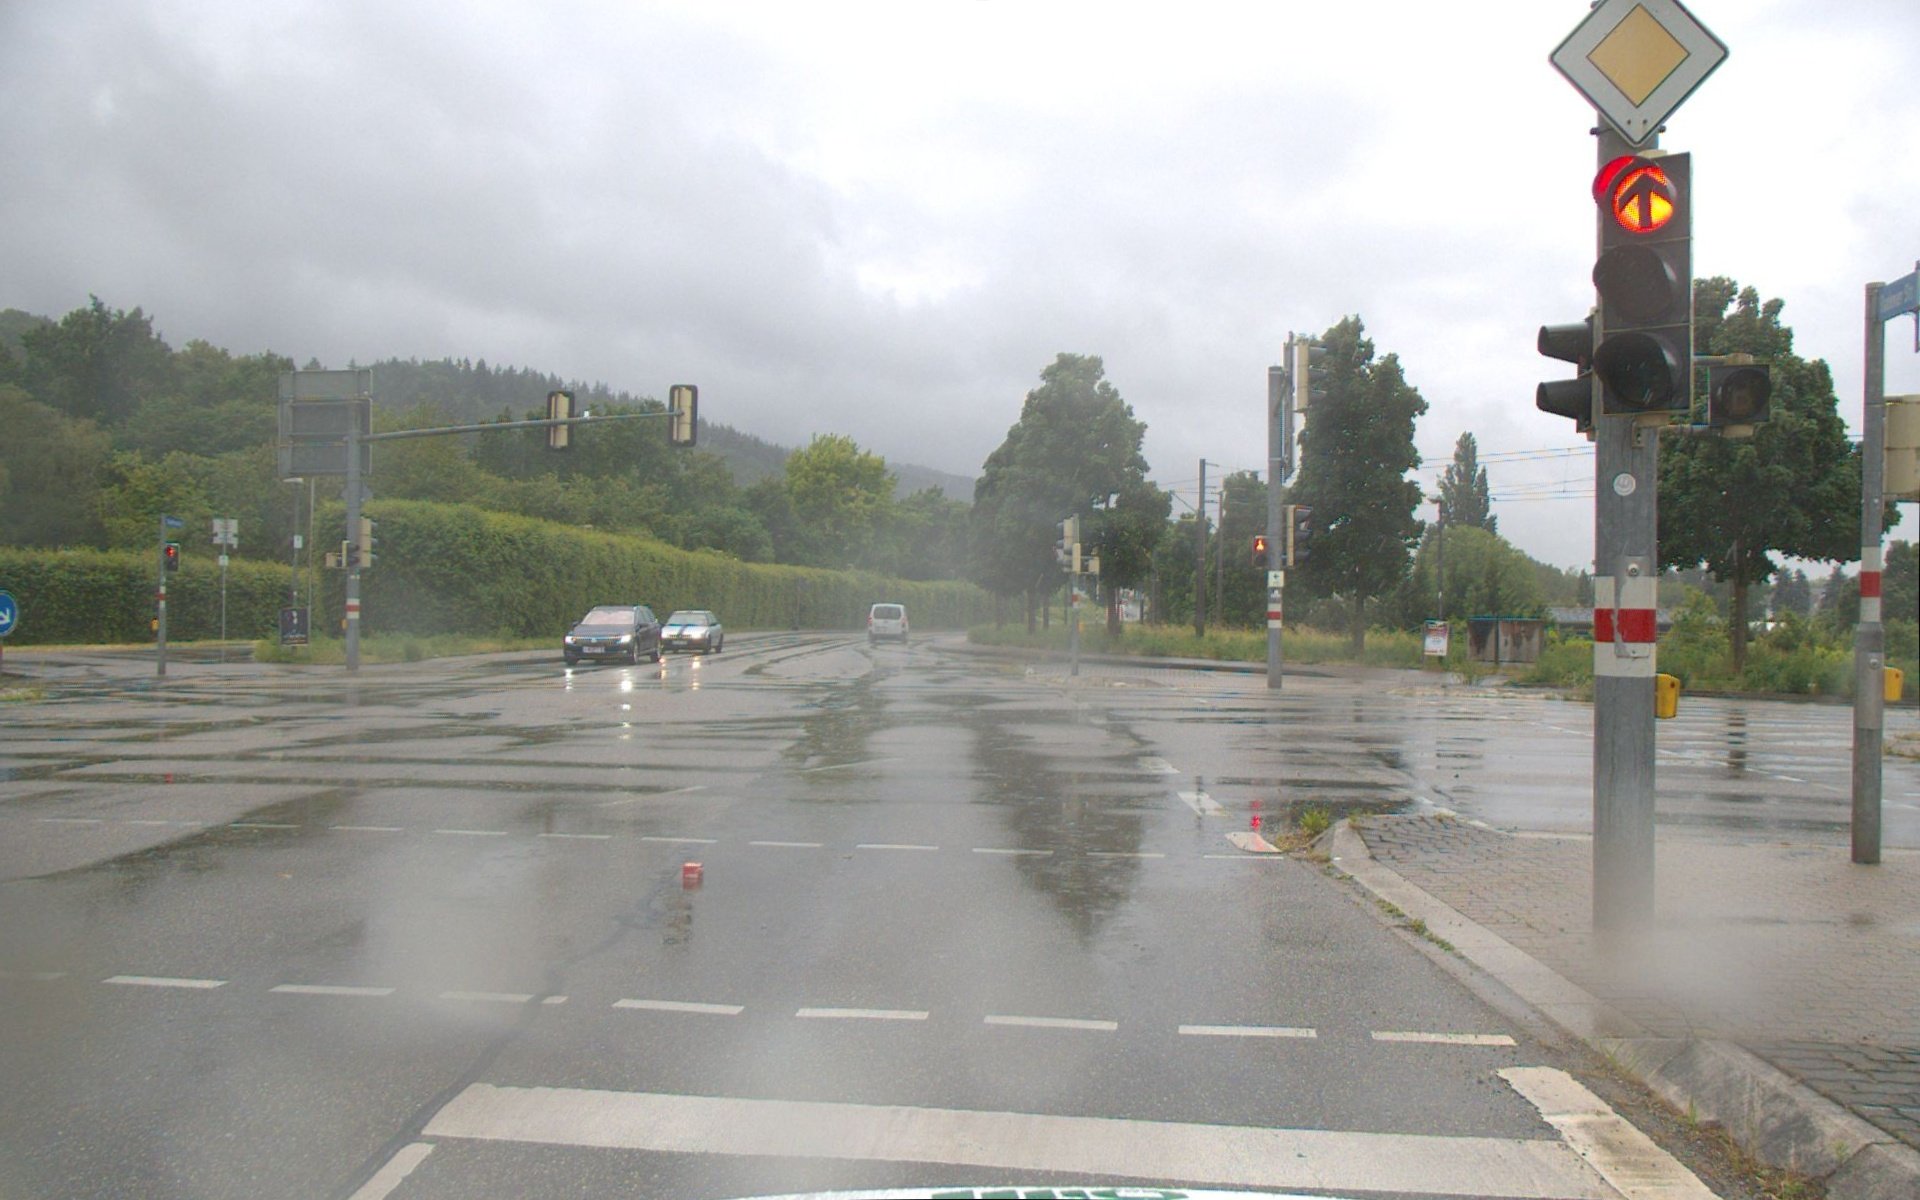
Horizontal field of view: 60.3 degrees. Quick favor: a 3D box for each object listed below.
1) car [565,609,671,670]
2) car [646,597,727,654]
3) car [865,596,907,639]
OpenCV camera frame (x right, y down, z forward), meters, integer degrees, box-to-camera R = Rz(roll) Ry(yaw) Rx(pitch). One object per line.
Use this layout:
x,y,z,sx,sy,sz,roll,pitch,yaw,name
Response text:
-8.888,0.996,43.327,1.673,1.491,4.454,0,0,2,car
-8.891,0.799,54.028,1.995,1.738,4.065,1,0,-1,car
-3.473,0.792,77.767,1.914,1.937,4.118,0,0,-3,car
